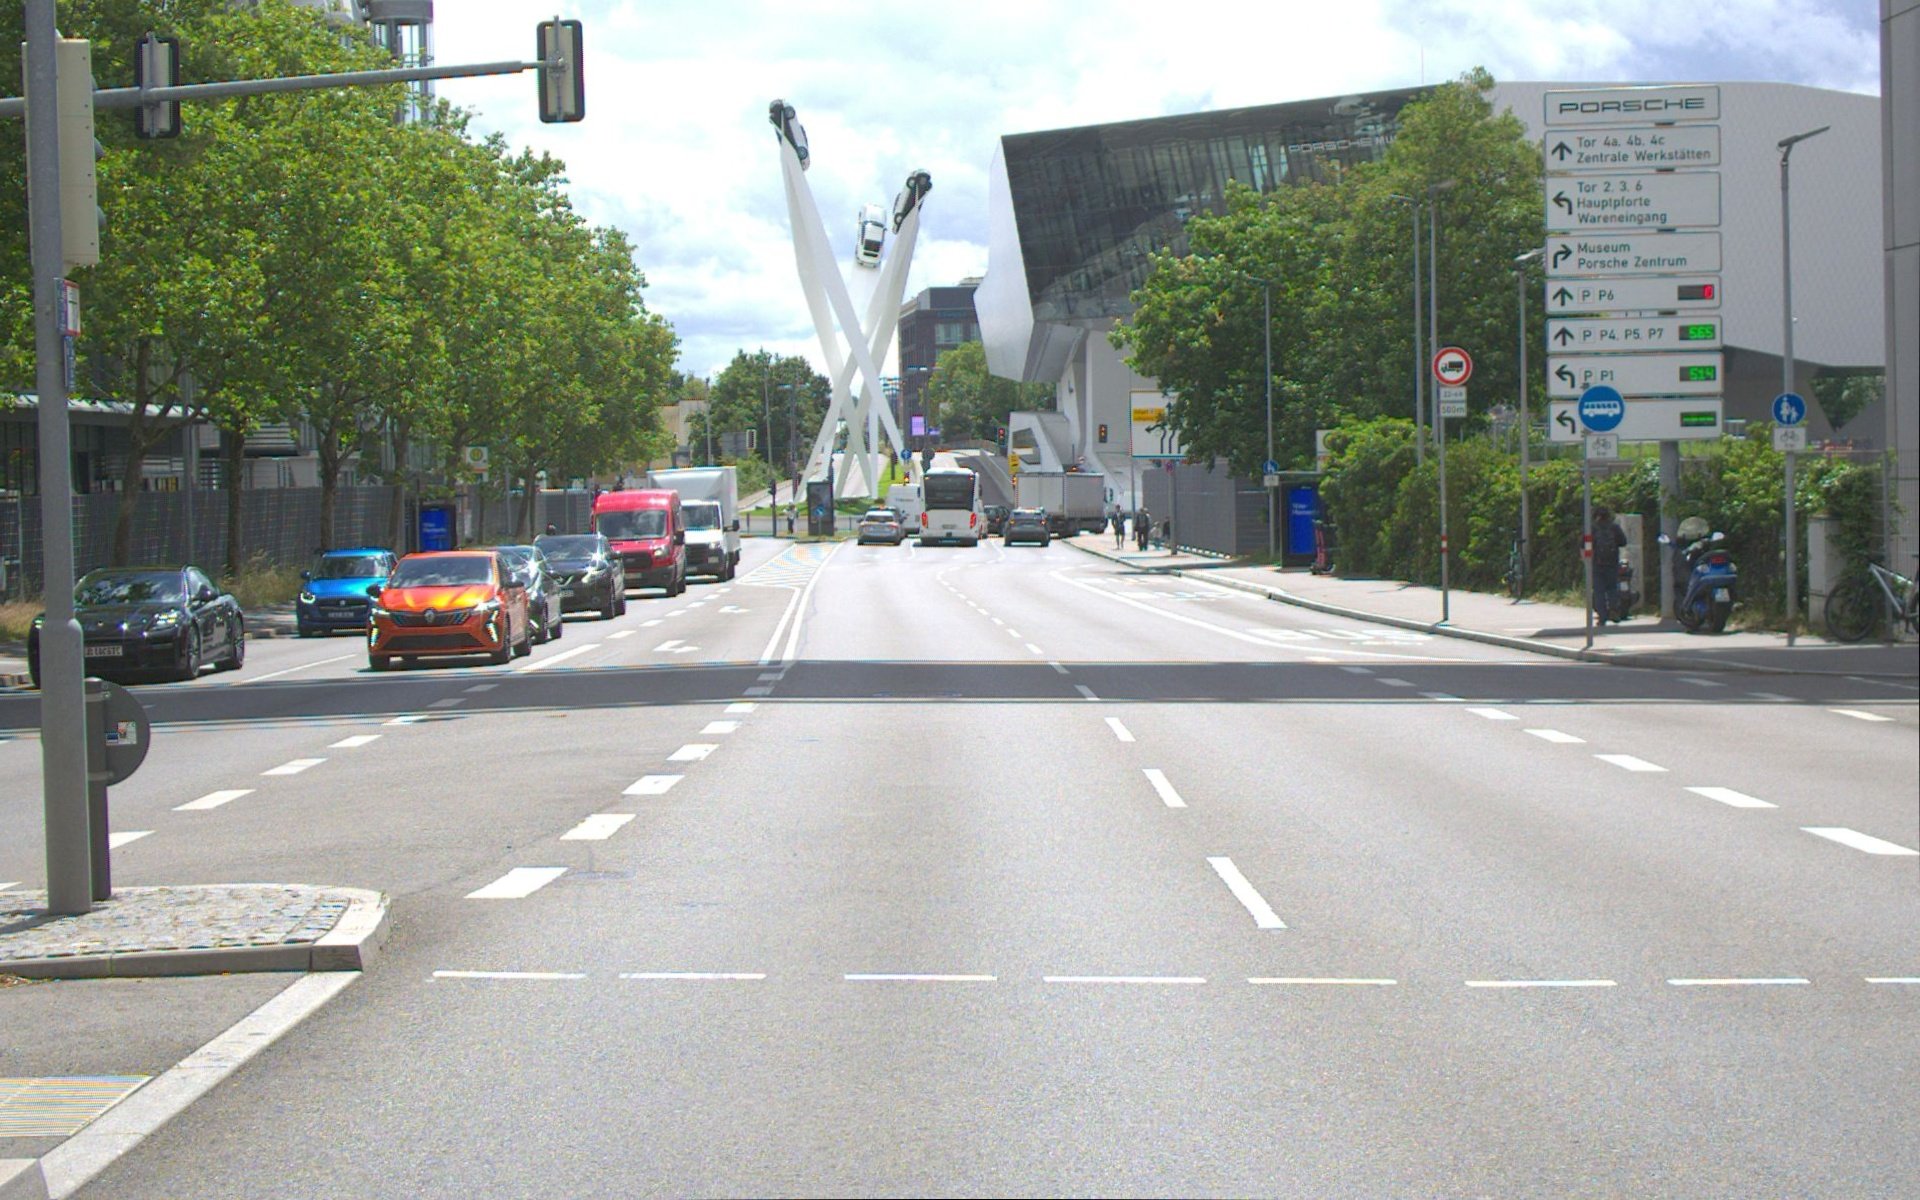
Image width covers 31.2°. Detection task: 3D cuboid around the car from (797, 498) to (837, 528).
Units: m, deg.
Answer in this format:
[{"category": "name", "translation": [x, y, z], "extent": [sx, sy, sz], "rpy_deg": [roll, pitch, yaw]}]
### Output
[{"category": "car", "translation": [-6.460, -3.940, 155.613], "extent": [1.557, 1.269, 3.701], "rpy_deg": [-3, 1, 0]}]

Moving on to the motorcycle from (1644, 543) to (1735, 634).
[{"category": "motorcycle", "translation": [9.541, -0.155, 45.018], "extent": [0.418, 1.162, 1.957], "rpy_deg": [1, 1, -11]}]

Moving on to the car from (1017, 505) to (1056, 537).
[{"category": "car", "translation": [3.236, -3.361, 146.094], "extent": [1.557, 1.269, 3.701], "rpy_deg": [-3, 1, 1]}]

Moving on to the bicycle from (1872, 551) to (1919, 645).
[{"category": "bicycle", "translation": [11.701, -0.008, 39.676], "extent": [2.222, 1.083, 0.476], "rpy_deg": [1, 1, 35]}]

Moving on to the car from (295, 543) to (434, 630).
[{"category": "car", "translation": [-10.418, -0.256, 60.364], "extent": [1.727, 1.378, 3.701], "rpy_deg": [-3, 1, 0]}]

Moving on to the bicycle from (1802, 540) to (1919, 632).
[{"category": "bicycle", "translation": [11.165, -0.165, 40.864], "extent": [2.222, 1.083, 0.476], "rpy_deg": [1, 1, 35]}]

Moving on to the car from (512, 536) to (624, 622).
[{"category": "car", "translation": [-7.225, -0.412, 63.644], "extent": [1.557, 1.443, 3.773], "rpy_deg": [-3, 1, 0]}]

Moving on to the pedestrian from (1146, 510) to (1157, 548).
[{"category": "pedestrian", "translation": [7.215, -2.663, 129.686], "extent": [0.386, 1.416, 0.423], "rpy_deg": [1, 0, 0]}]

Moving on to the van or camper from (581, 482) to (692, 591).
[{"category": "van or camper", "translation": [-7.524, -1.503, 80.315], "extent": [2.047, 2.458, 5.595], "rpy_deg": [0, 1, 0]}]

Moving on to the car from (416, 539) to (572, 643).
[{"category": "car", "translation": [-6.976, -0.167, 51.796], "extent": [1.769, 1.415, 3.701], "rpy_deg": [-3, 1, 0]}]

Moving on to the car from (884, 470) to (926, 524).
[{"category": "car", "translation": [-2.721, -5.113, 171.114], "extent": [1.844, 2.614, 4.000], "rpy_deg": [1, 1, 3]}]

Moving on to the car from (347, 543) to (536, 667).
[{"category": "car", "translation": [-6.531, 0.030, 43.672], "extent": [1.769, 1.415, 3.701], "rpy_deg": [-3, 1, 0]}]

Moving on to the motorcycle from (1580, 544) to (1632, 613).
[{"category": "motorcycle", "translation": [9.761, -0.333, 52.001], "extent": [0.457, 1.019, 1.912], "rpy_deg": [1, 1, 1]}]

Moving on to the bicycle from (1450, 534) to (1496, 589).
[{"category": "bicycle", "translation": [9.736, -0.729, 65.259], "extent": [0.418, 1.019, 1.913], "rpy_deg": [1, 1, -5]}]

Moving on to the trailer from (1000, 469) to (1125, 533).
[{"category": "trailer", "translation": [5.229, -4.910, 172.153], "extent": [3.322, 2.984, 10.366], "rpy_deg": [1, 1, 19]}]

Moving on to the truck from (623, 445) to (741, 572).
[{"category": "truck", "translation": [-7.553, -2.443, 94.091], "extent": [2.591, 3.312, 7.079], "rpy_deg": [1, 1, 0]}]

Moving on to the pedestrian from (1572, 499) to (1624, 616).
[{"category": "pedestrian", "translation": [9.004, -0.597, 48.533], "extent": [0.533, 1.635, 0.658], "rpy_deg": [1, 0, -6]}]

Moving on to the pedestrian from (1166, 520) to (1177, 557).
[{"category": "pedestrian", "translation": [8.213, -2.384, 133.388], "extent": [0.386, 1.416, 0.423], "rpy_deg": [1, 0, 0]}]

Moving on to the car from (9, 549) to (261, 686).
[{"category": "car", "translation": [-10.201, 0.173, 42.864], "extent": [1.917, 1.483, 4.772], "rpy_deg": [-3, 1, 0]}]

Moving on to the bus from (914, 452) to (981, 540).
[{"category": "bus", "translation": [-0.510, -4.483, 150.077], "extent": [2.787, 3.673, 6.943], "rpy_deg": [1, 1, 0]}]

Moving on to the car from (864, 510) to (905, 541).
[{"category": "car", "translation": [-3.246, -3.232, 148.727], "extent": [1.557, 1.269, 3.701], "rpy_deg": [-3, 1, 1]}]

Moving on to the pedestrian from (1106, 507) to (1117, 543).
[{"category": "pedestrian", "translation": [5.886, -2.915, 133.533], "extent": [0.386, 1.416, 0.423], "rpy_deg": [1, 0, 0]}]
